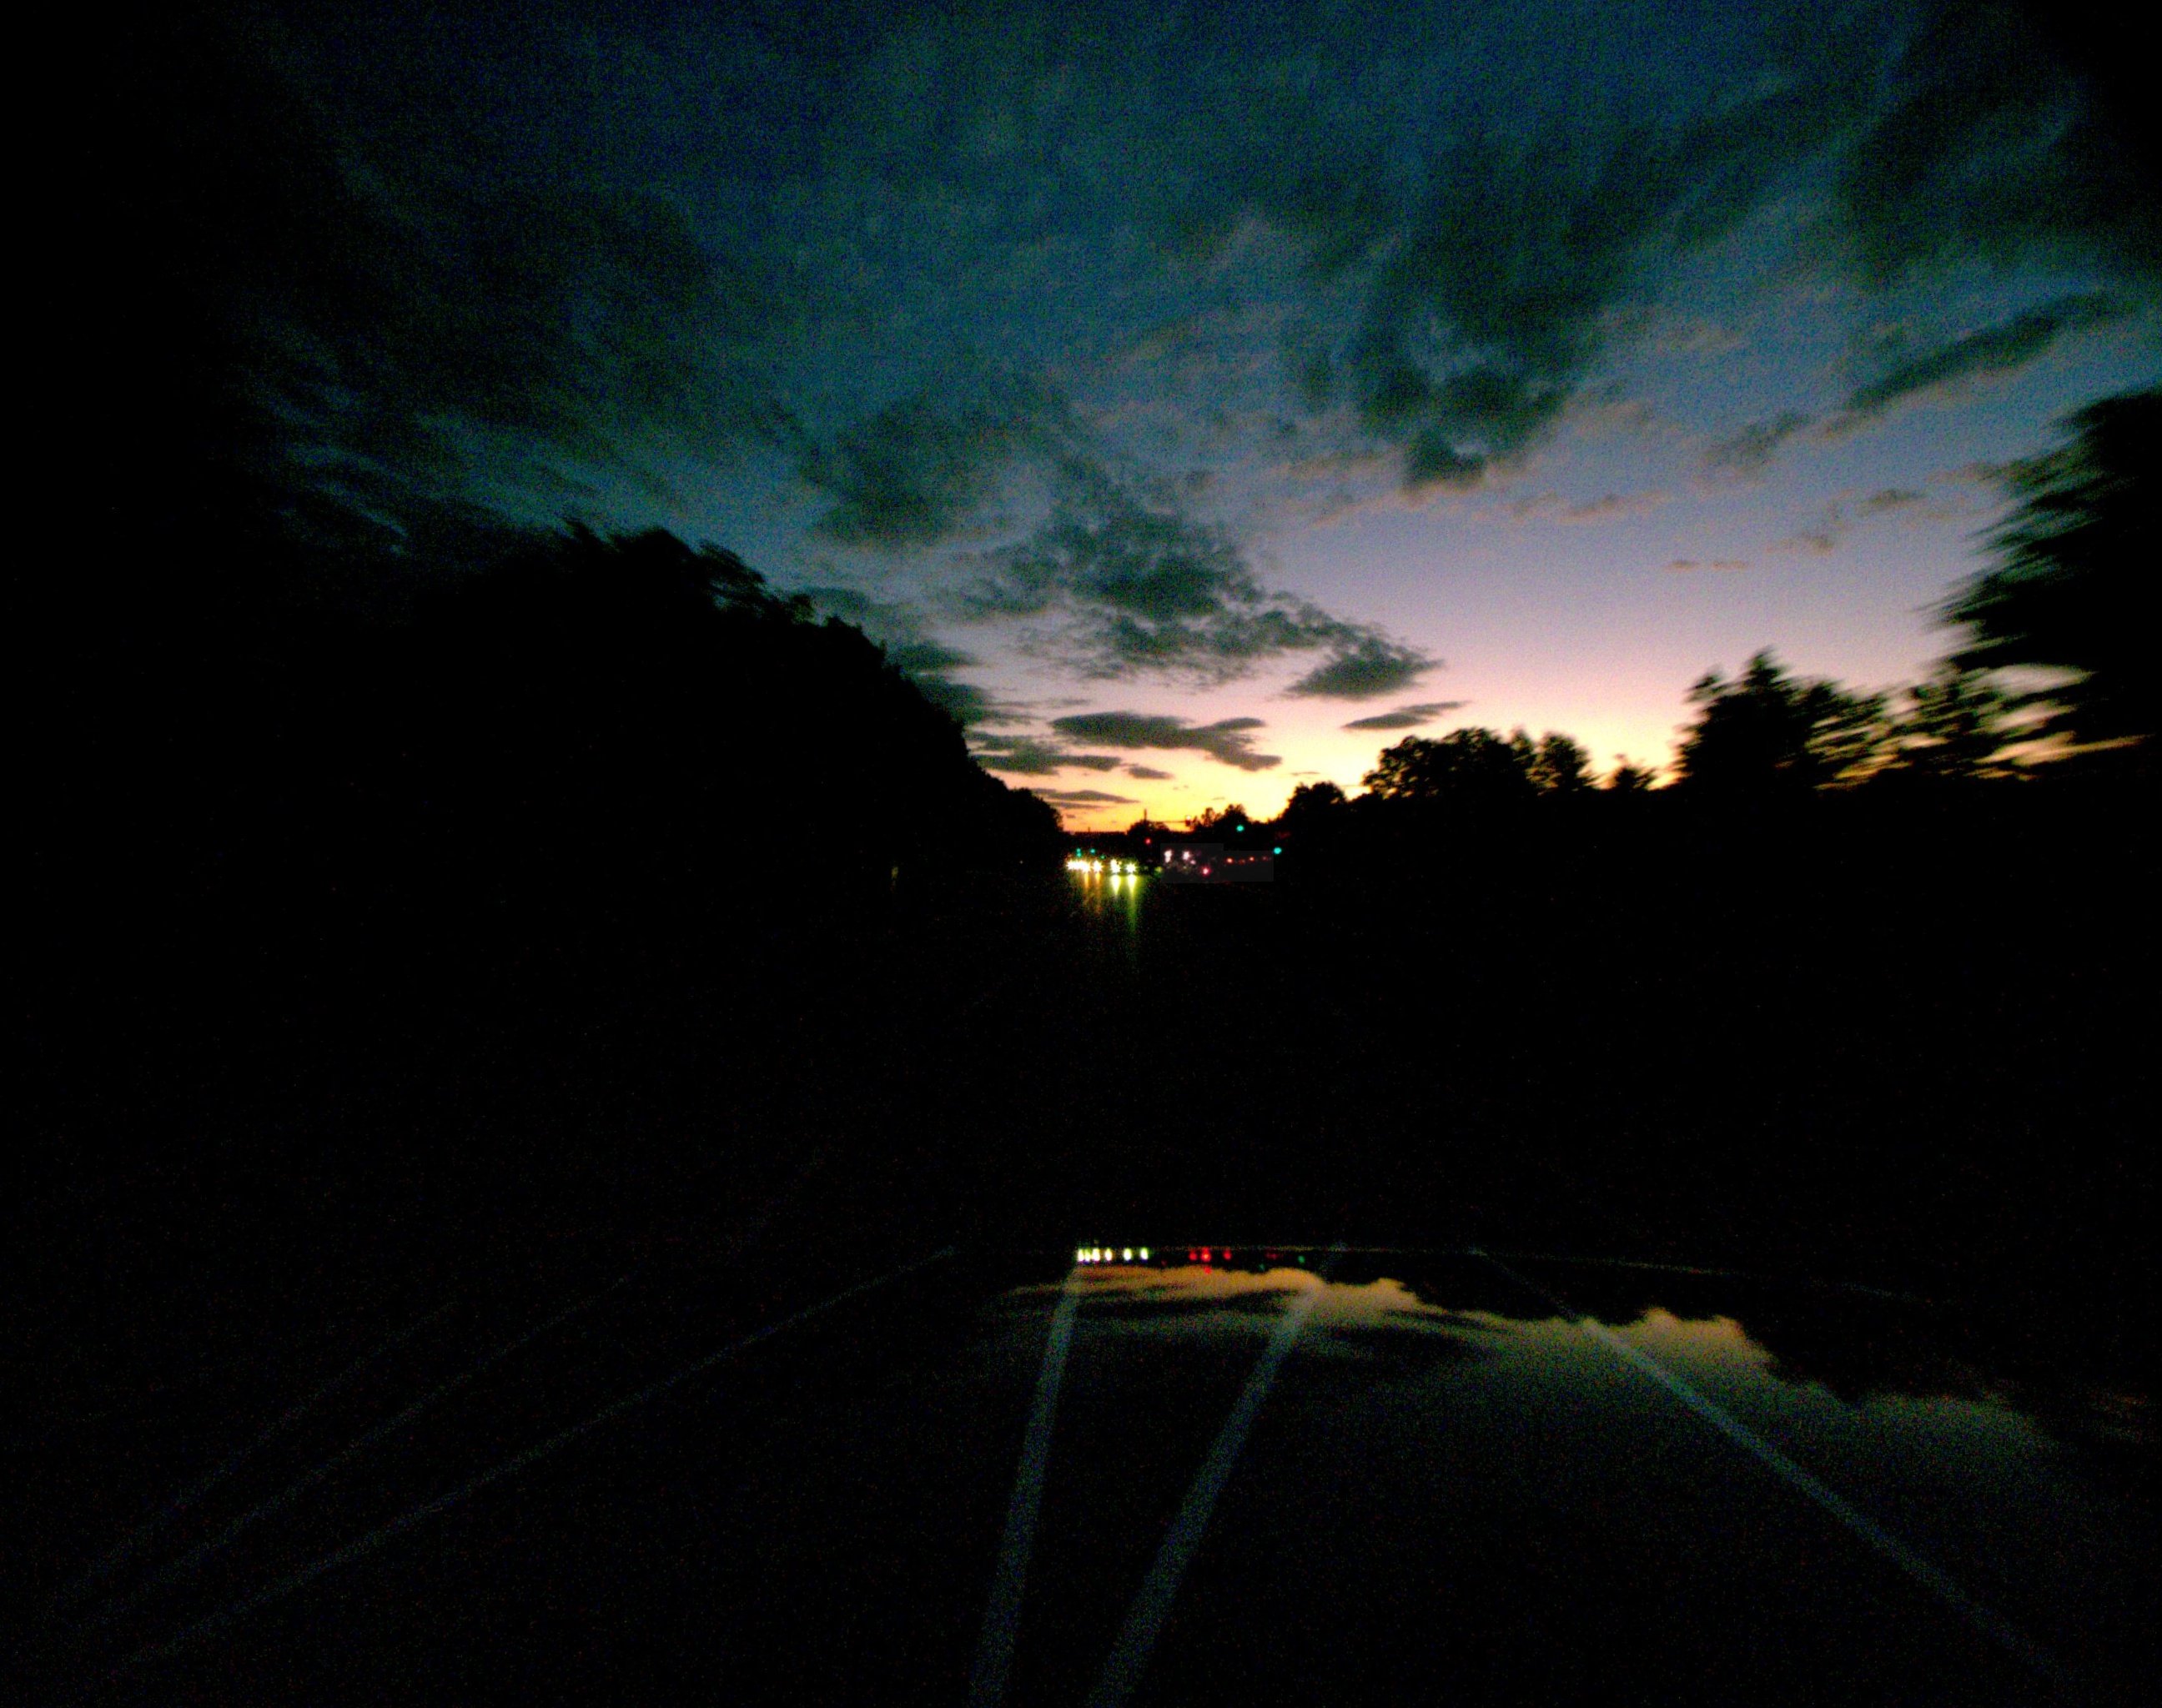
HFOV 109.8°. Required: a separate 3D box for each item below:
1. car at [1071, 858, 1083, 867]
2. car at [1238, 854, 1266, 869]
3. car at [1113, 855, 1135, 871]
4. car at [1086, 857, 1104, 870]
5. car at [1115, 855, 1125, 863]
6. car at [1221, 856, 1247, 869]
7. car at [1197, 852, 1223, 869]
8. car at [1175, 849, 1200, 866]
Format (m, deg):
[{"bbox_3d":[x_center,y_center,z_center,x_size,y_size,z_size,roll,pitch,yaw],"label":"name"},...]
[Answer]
[{"bbox_3d":[-0.757,1.709,155.067,2.006,1.718,4.002,0,0,7],"label":"car"},{"bbox_3d":[17.790,0.768,79.263,1.998,1.444,4.735,0,0,2],"label":"car"},{"bbox_3d":[4.138,0.847,73.213,1.998,1.444,4.735,-1,0,3],"label":"car"},{"bbox_3d":[1.569,1.041,88.438,1.999,1.444,4.000,1,0,0],"label":"car"},{"bbox_3d":[9.085,1.156,176.315,2.056,1.586,4.002,-1,0,8],"label":"car"},{"bbox_3d":[17.186,0.920,85.534,1.998,1.444,4.735,0,-1,1],"label":"car"},{"bbox_3d":[14.021,0.685,82.647,1.998,1.672,4.872,0,1,0],"label":"car"},{"bbox_3d":[10.336,0.337,73.812,1.998,1.560,4.823,1,0,3],"label":"car"}]
